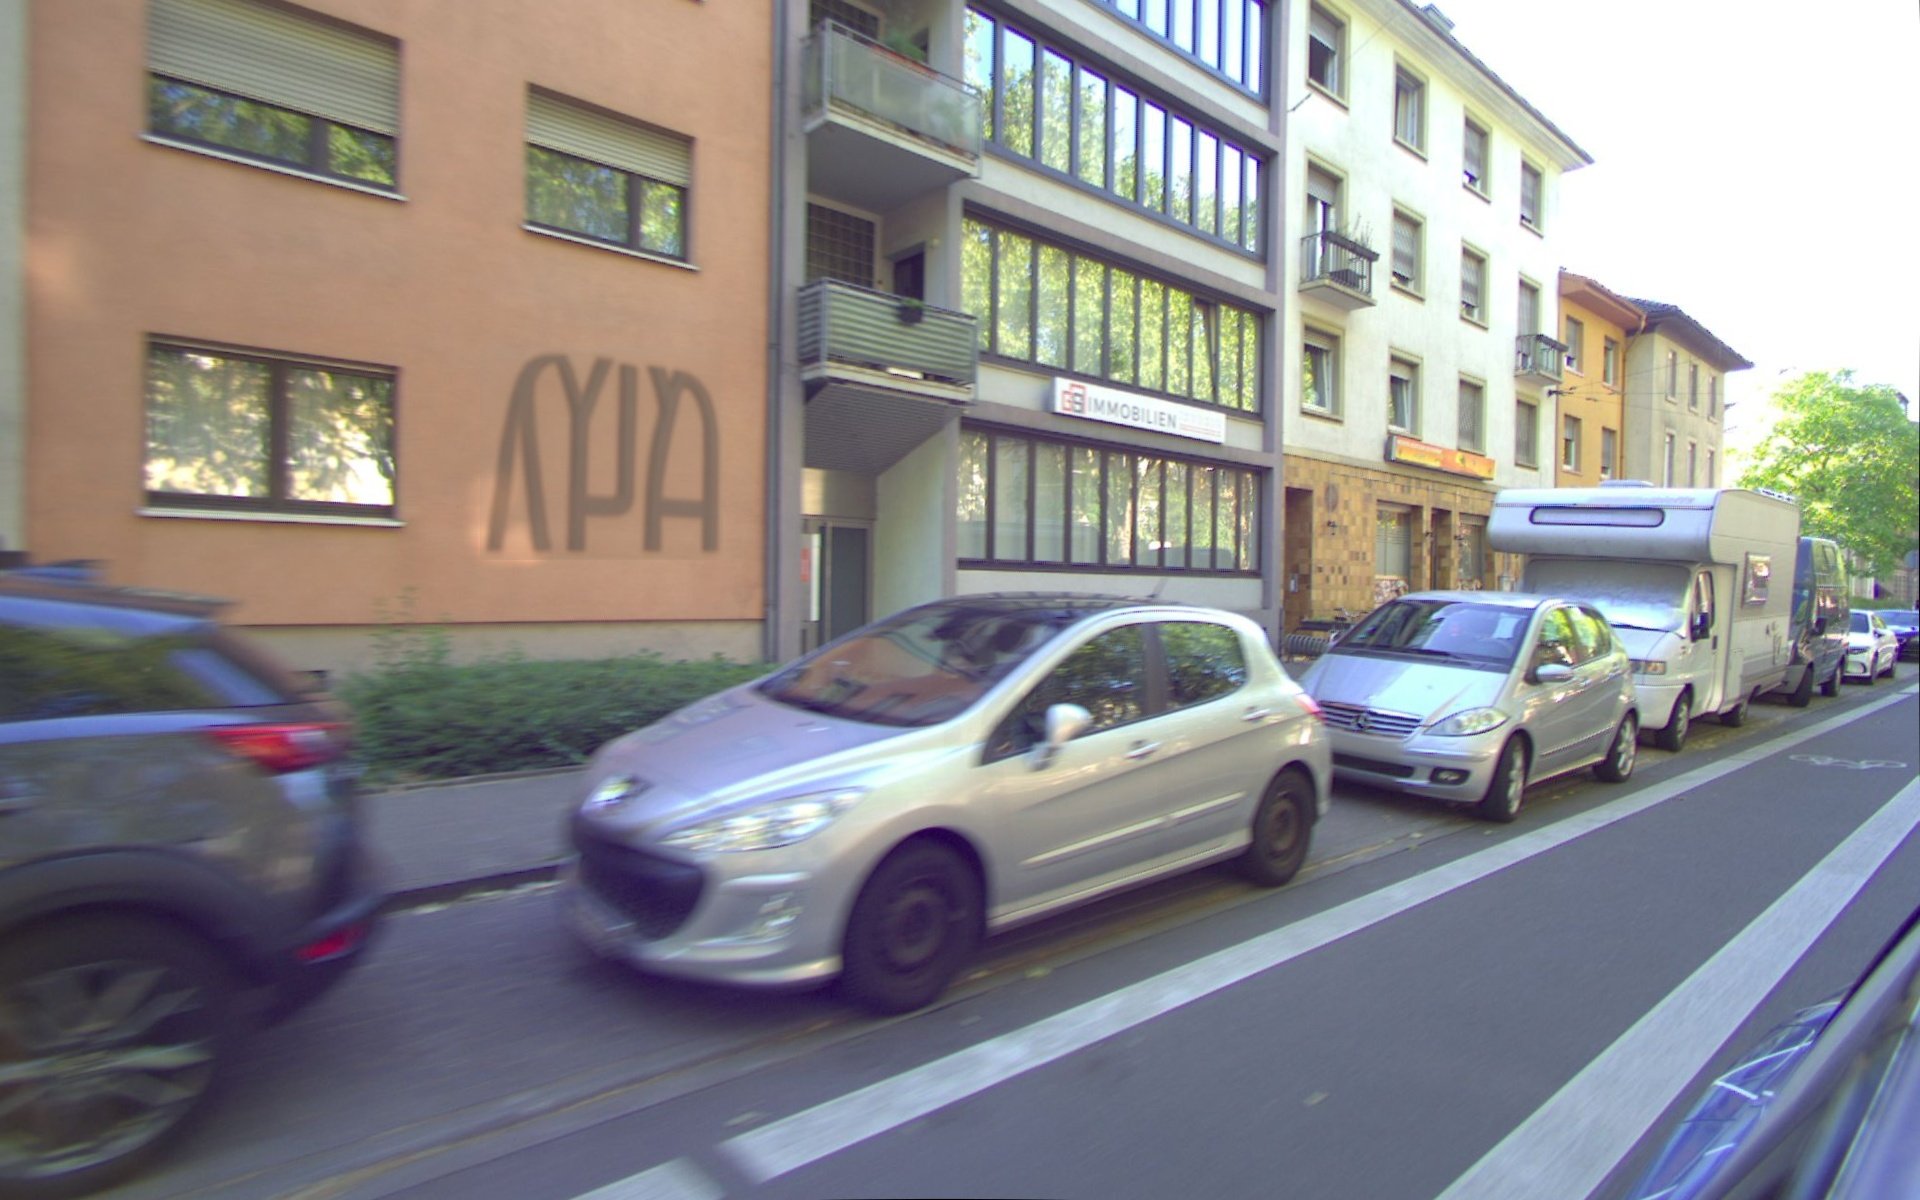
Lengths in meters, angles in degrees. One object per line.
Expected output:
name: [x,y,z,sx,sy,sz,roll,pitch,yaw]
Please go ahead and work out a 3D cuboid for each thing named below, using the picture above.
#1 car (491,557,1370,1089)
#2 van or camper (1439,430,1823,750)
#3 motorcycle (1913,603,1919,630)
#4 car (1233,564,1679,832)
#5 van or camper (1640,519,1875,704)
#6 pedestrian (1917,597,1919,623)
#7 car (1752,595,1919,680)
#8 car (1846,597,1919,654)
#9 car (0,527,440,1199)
car: [0.166,0.639,5.094,4.248,1.540,1.791,0,3,-42]
van or camper: [8.689,-0.157,12.795,6.160,3.101,2.466,0,3,-42]
motorcycle: [42.371,0.788,43.368,0.812,1.172,2.074,0,3,-36]
car: [4.296,0.602,8.465,4.201,1.648,1.797,0,3,-41]
van or camper: [13.582,0.108,17.118,4.892,2.695,2.137,0,3,-41]
pedestrian: [61.784,0.632,64.693,0.869,1.699,0.813,0,0,-41]
car: [18.678,0.709,21.466,4.656,1.512,1.998,0,3,-40]
car: [26.223,0.673,27.944,4.657,1.397,1.998,0,3,-41]
car: [-3.693,0.587,2.199,4.261,1.591,1.771,0,3,-41]
